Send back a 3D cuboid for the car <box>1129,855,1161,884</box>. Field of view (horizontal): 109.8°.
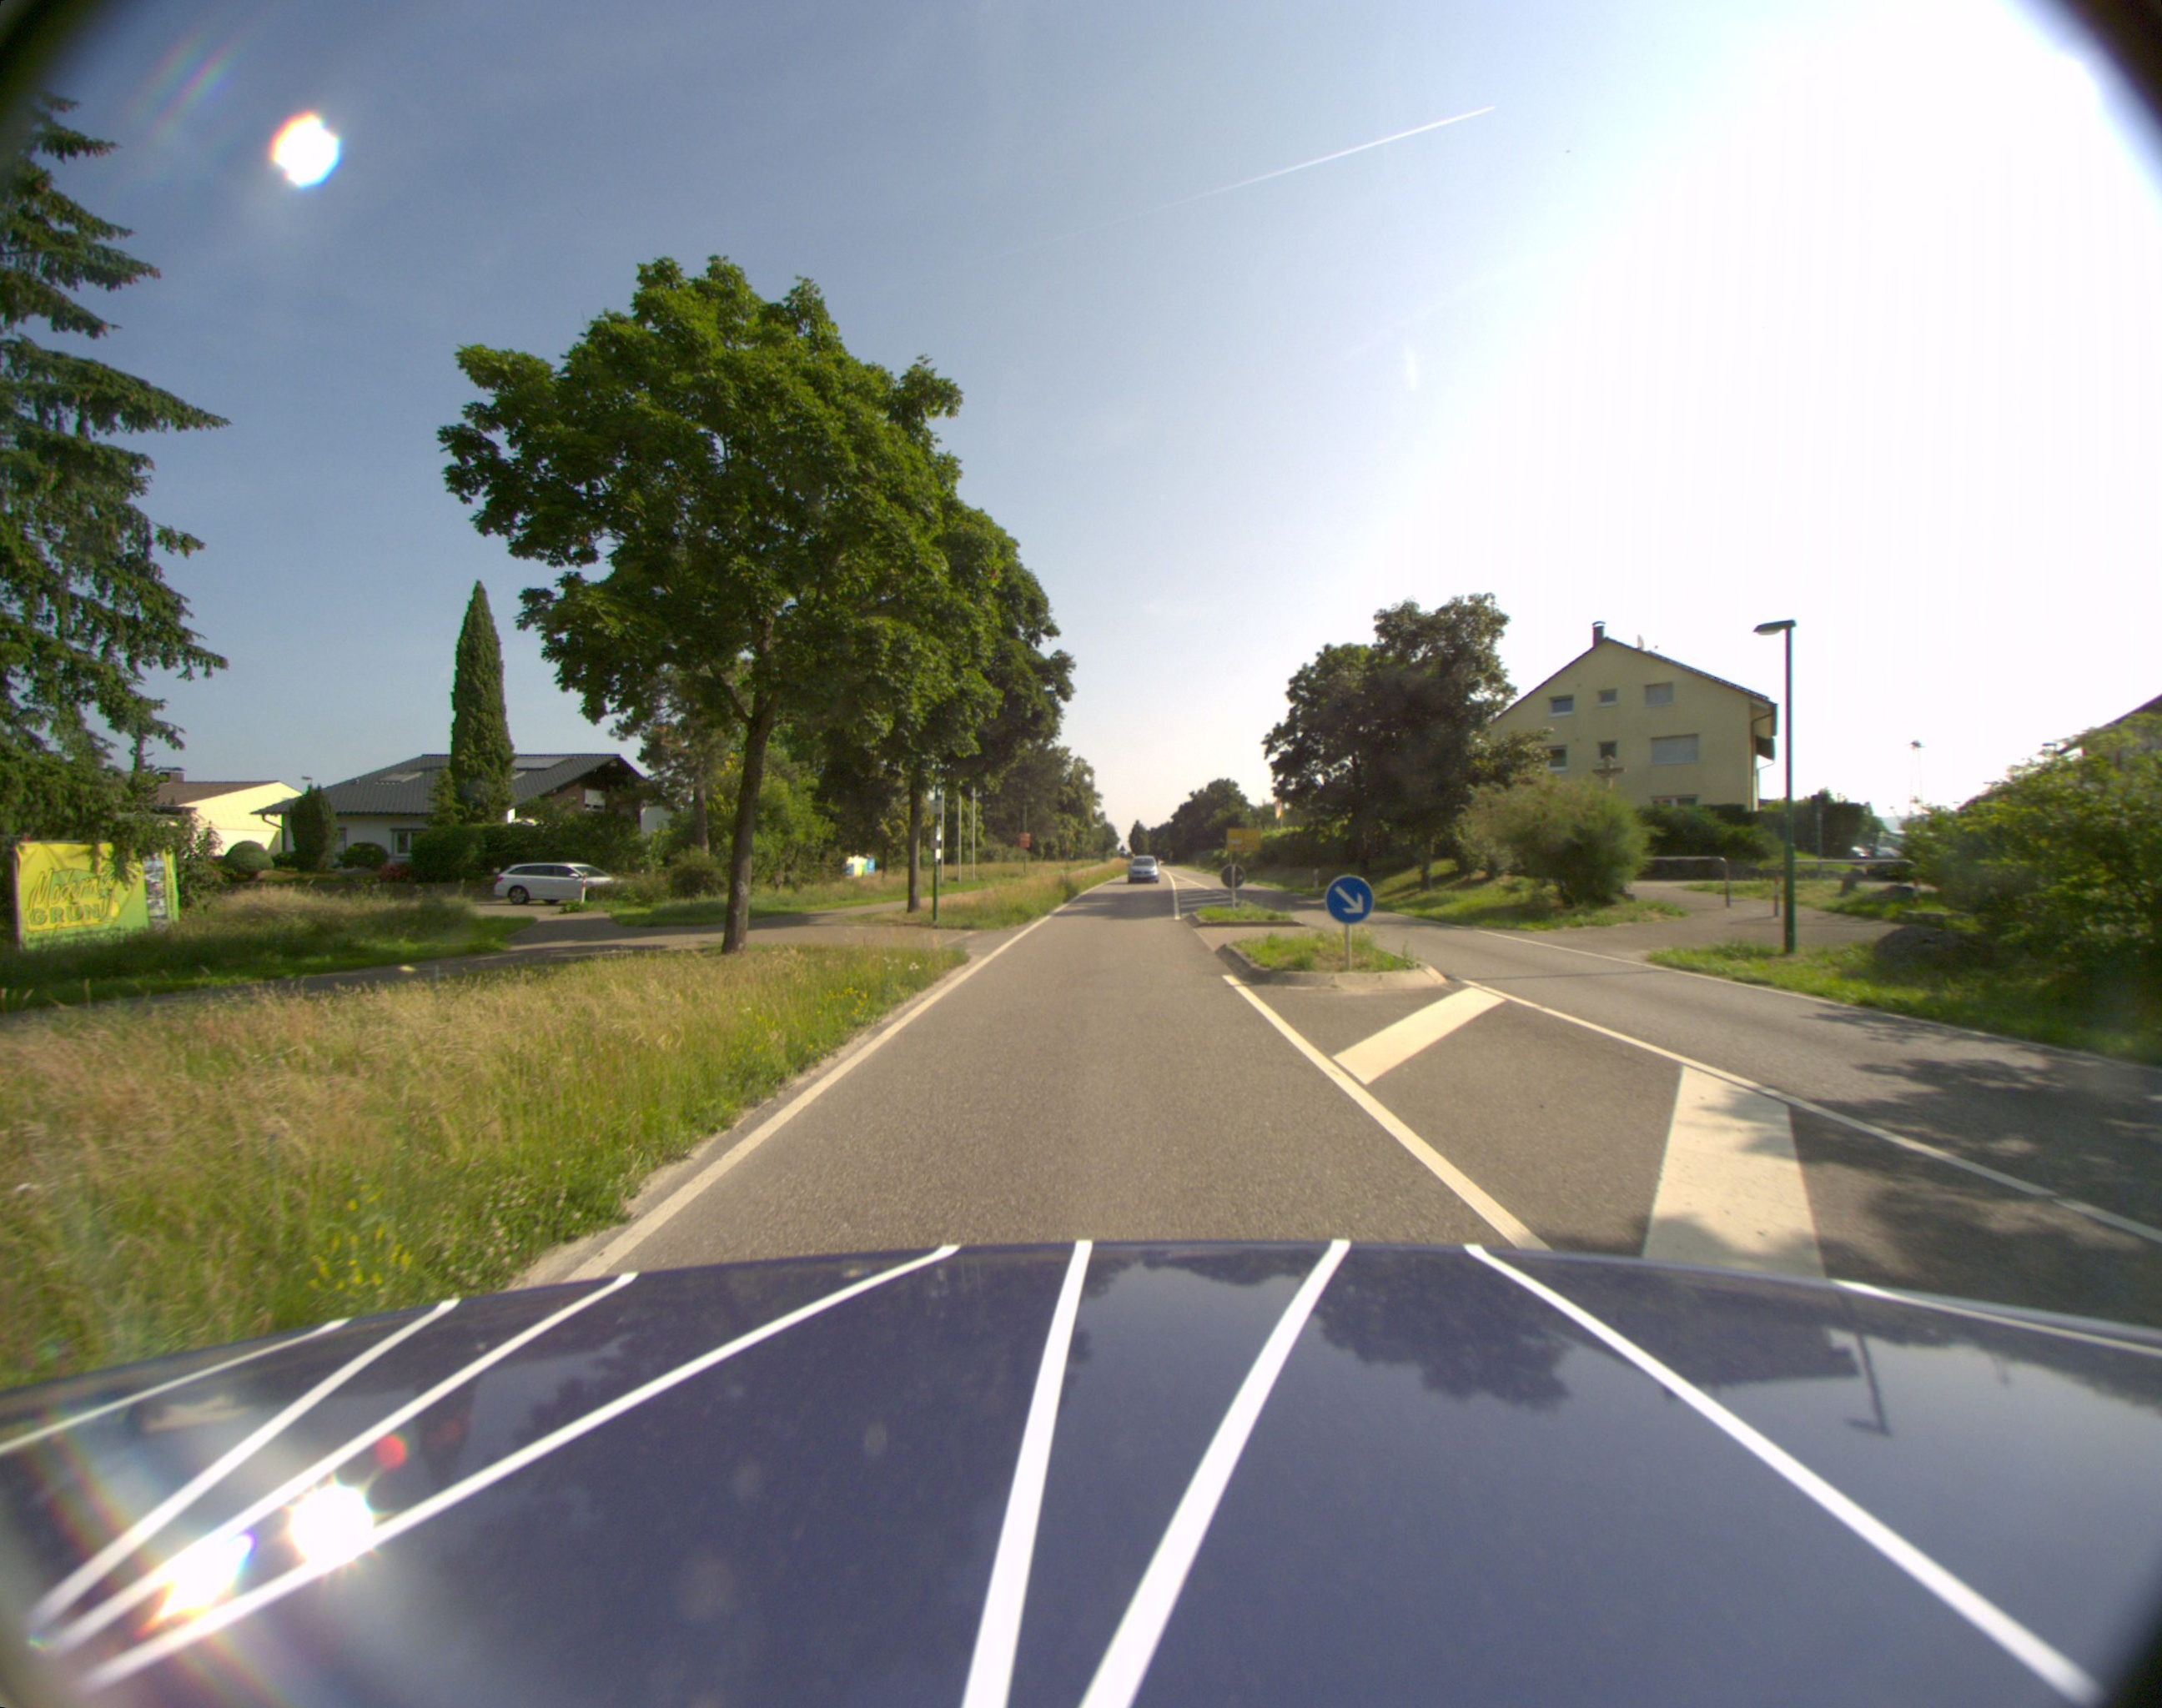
[{"bbox_3d":[3.818,0.890,44.767,1.807,1.592,4.271,0,0,6],"label":"car"}]

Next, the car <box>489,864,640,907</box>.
[{"bbox_3d":[-17.999,1.067,26.608,3.997,1.426,1.815,0,0,-2],"label":"car"}]

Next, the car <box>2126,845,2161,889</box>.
[{"bbox_3d":[35.487,0.402,23.242,1.816,1.364,4.072,-1,0,-38],"label":"car"}]

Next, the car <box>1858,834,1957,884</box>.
[{"bbox_3d":[25.939,0.139,23.971,1.863,1.454,4.243,-1,0,44],"label":"car"}]
